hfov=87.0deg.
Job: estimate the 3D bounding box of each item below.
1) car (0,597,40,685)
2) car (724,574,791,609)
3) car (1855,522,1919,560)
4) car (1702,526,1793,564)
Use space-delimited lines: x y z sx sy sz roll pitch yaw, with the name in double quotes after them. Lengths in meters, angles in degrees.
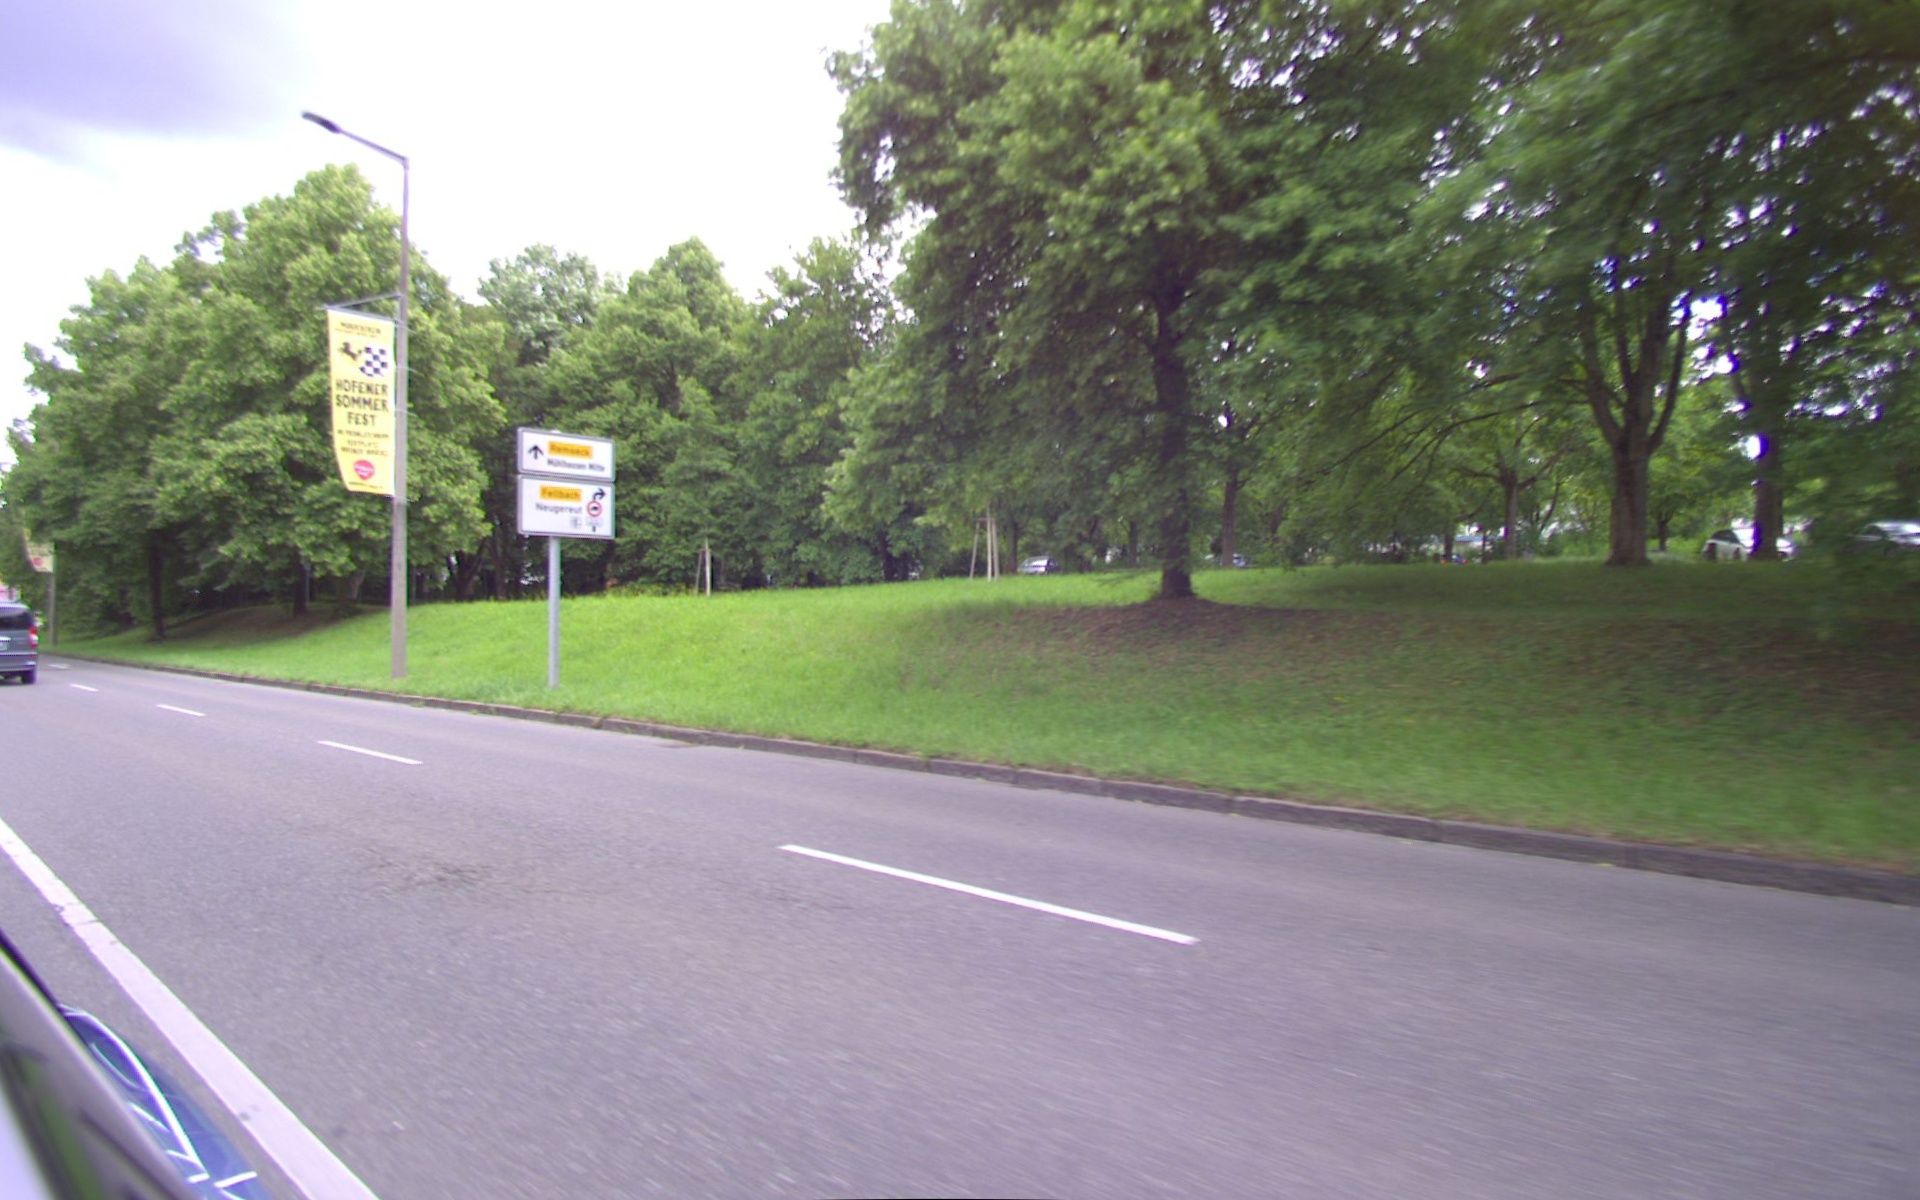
-23.593 0.942 24.057 5.181 1.970 1.972 -1 -1 41 "car"
-11.623 -0.491 58.478 1.980 1.910 4.884 -1 0 13 "car"
35.030 -2.177 37.367 1.385 1.243 3.495 -1 0 12 "car"
30.468 -2.100 39.271 1.385 1.243 3.495 -1 0 12 "car"
